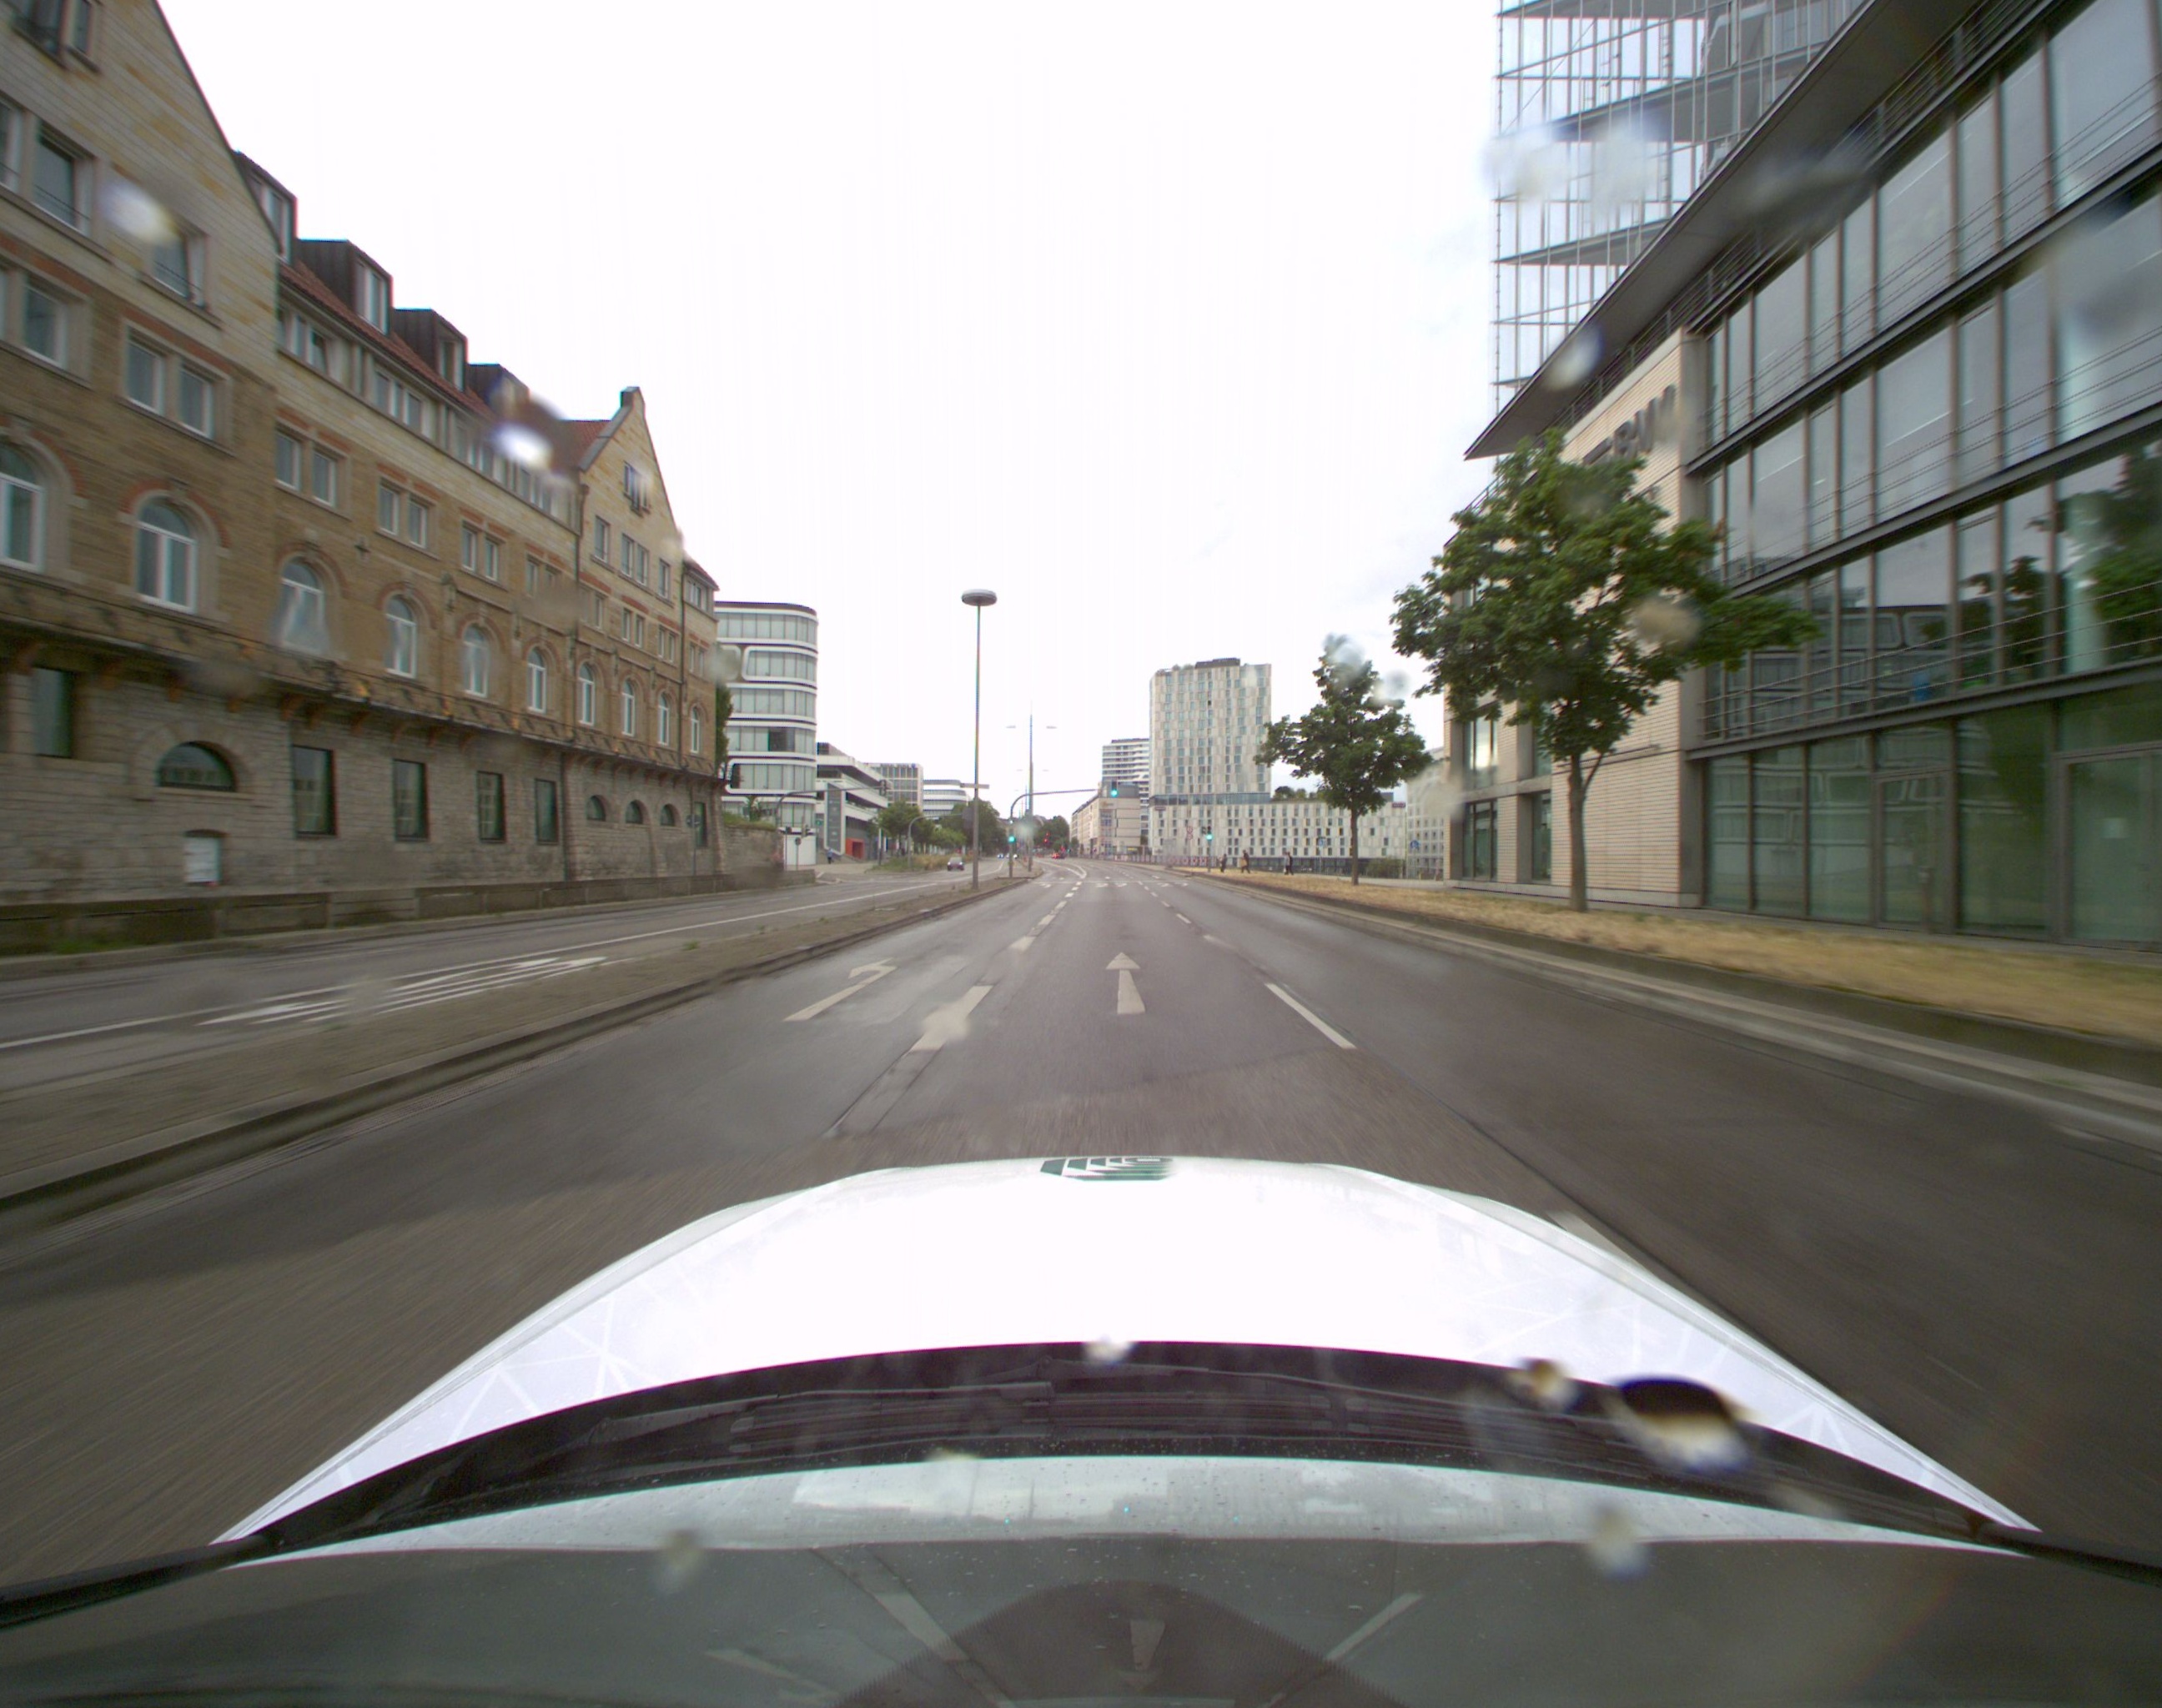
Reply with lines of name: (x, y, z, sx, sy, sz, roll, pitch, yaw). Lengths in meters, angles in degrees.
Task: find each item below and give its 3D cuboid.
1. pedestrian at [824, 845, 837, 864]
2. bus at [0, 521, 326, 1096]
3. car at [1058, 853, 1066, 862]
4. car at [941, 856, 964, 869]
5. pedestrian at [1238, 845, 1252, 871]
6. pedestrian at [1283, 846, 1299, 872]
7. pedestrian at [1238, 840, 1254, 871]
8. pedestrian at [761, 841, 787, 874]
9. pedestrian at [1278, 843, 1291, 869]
pedestrian: (-26.439, 0.056, 85.870, 1.026, 2.013, 0.716, -2, 1, 0)
bus: (-8.086, -0.222, 2.053, 2.689, 3.559, 10.096, -2, 1, 1)
car: (-5.266, 1.023, 226.167, 1.987, 2.343, 4.000, -4, 0, 1)
car: (-13.852, 0.913, 87.980, 1.742, 1.407, 3.725, -1, 0, 1)
pedestrian: (10.025, 0.240, 49.720, 0.544, 1.577, 0.675, -1, 2, 36)
pedestrian: (12.975, 0.319, 50.313, 0.662, 1.577, 0.673, 0, 2, 39)
pedestrian: (10.056, 0.088, 49.604, 0.787, 1.841, 0.544, -3, 2, -42)
pedestrian: (-17.846, 0.191, 47.390, 0.872, 1.867, 1.068, -1, 2, 35)
pedestrian: (12.295, 0.125, 49.263, 0.544, 1.577, 0.675, -1, 2, 36)
